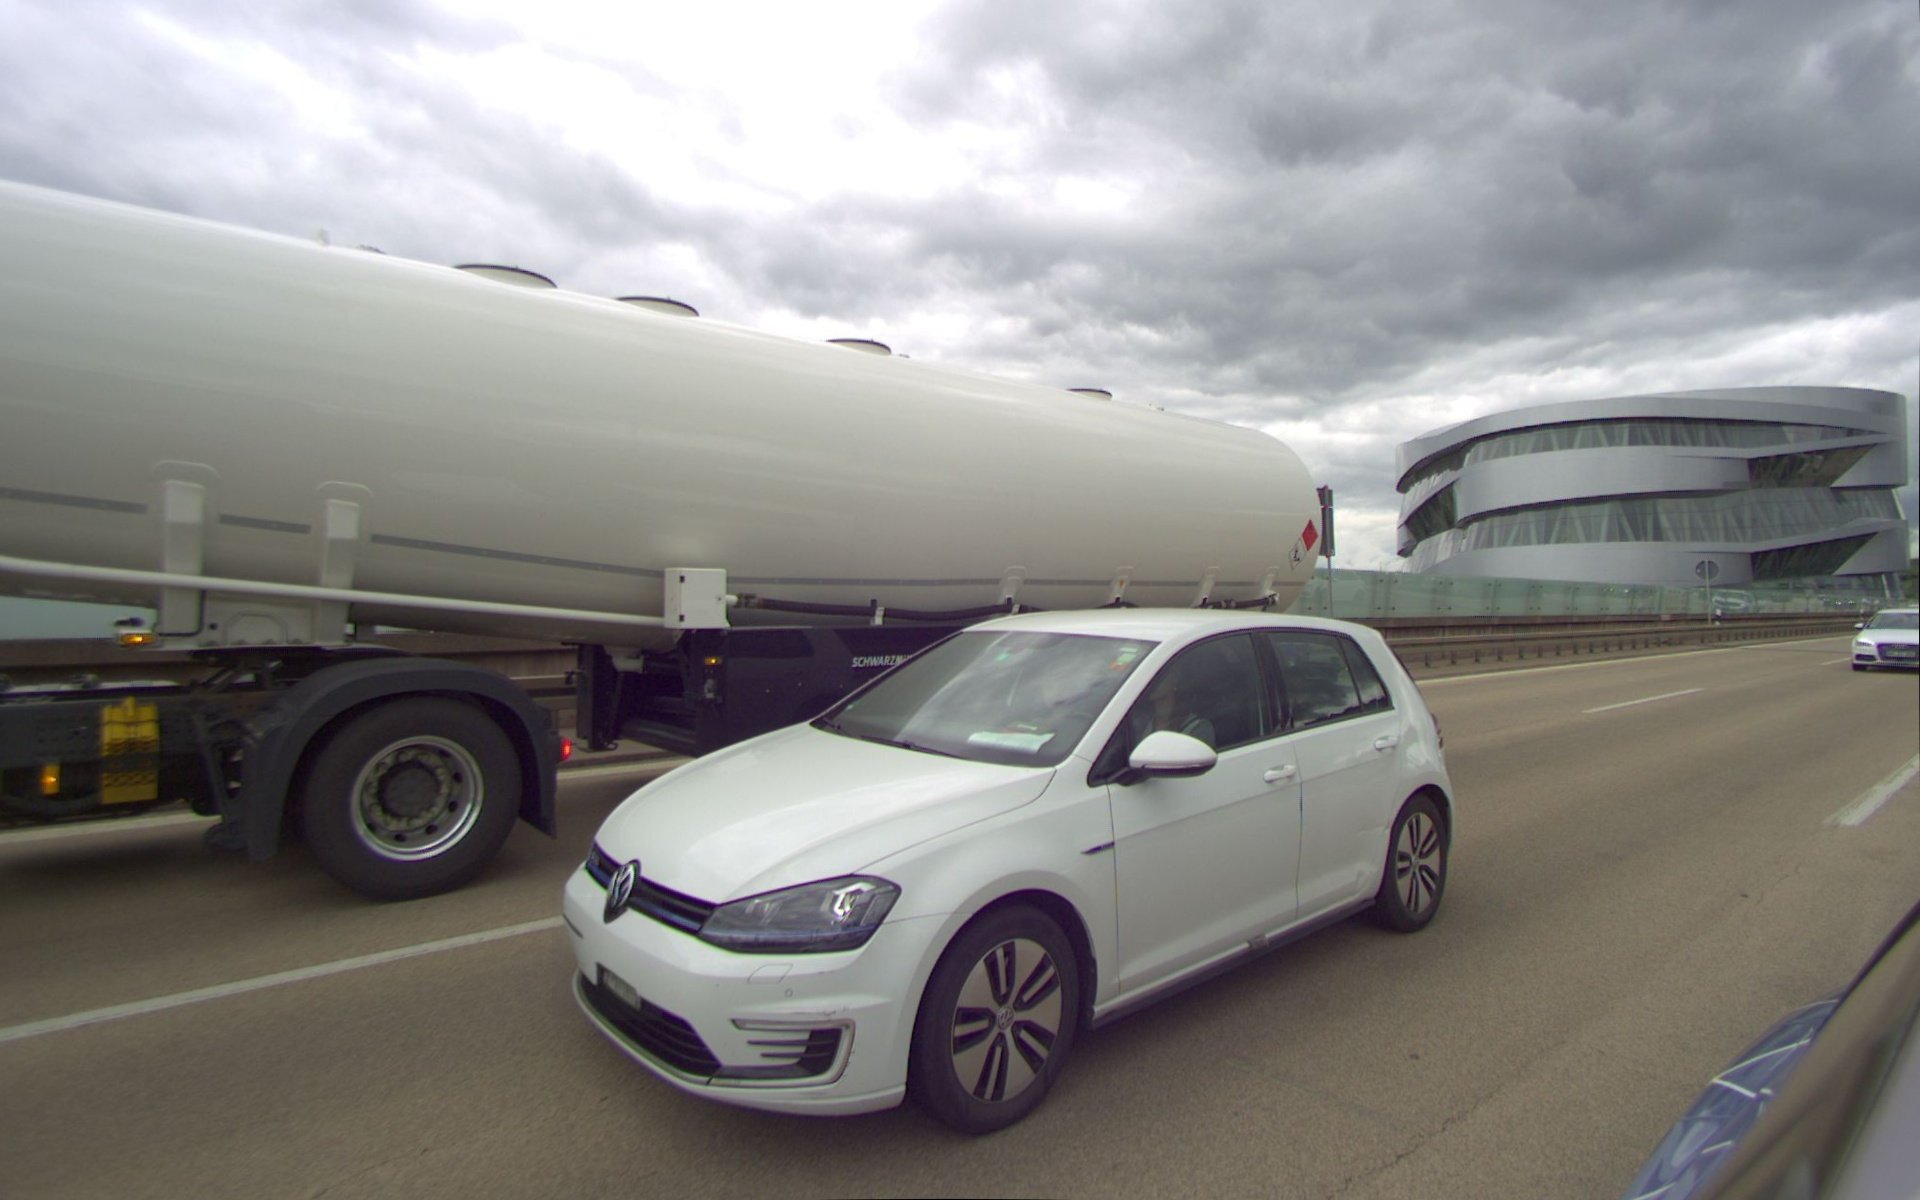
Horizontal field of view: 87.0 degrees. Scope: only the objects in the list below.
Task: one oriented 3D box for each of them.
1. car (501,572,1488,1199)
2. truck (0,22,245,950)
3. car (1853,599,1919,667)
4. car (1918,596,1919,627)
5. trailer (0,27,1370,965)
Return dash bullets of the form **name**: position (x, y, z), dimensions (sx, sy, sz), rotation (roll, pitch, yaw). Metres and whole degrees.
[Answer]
- **car**: position (0.466, 0.662, 4.216), dimensions (4.001, 1.470, 1.757), rotation (0, 1, -42)
- **truck**: position (-5.787, -0.415, 3.810), dimensions (4.818, 3.557, 2.636), rotation (-1, 1, -41)
- **car**: position (22.133, 0.718, 23.197), dimensions (3.861, 1.470, 1.848), rotation (0, 0, -38)
- **car**: position (52.331, 0.615, 53.716), dimensions (3.563, 1.654, 1.784), rotation (0, 1, -40)
- **trailer**: position (-0.652, -0.444, 8.230), dimensions (11.023, 3.588, 2.655), rotation (0, 1, -41)
